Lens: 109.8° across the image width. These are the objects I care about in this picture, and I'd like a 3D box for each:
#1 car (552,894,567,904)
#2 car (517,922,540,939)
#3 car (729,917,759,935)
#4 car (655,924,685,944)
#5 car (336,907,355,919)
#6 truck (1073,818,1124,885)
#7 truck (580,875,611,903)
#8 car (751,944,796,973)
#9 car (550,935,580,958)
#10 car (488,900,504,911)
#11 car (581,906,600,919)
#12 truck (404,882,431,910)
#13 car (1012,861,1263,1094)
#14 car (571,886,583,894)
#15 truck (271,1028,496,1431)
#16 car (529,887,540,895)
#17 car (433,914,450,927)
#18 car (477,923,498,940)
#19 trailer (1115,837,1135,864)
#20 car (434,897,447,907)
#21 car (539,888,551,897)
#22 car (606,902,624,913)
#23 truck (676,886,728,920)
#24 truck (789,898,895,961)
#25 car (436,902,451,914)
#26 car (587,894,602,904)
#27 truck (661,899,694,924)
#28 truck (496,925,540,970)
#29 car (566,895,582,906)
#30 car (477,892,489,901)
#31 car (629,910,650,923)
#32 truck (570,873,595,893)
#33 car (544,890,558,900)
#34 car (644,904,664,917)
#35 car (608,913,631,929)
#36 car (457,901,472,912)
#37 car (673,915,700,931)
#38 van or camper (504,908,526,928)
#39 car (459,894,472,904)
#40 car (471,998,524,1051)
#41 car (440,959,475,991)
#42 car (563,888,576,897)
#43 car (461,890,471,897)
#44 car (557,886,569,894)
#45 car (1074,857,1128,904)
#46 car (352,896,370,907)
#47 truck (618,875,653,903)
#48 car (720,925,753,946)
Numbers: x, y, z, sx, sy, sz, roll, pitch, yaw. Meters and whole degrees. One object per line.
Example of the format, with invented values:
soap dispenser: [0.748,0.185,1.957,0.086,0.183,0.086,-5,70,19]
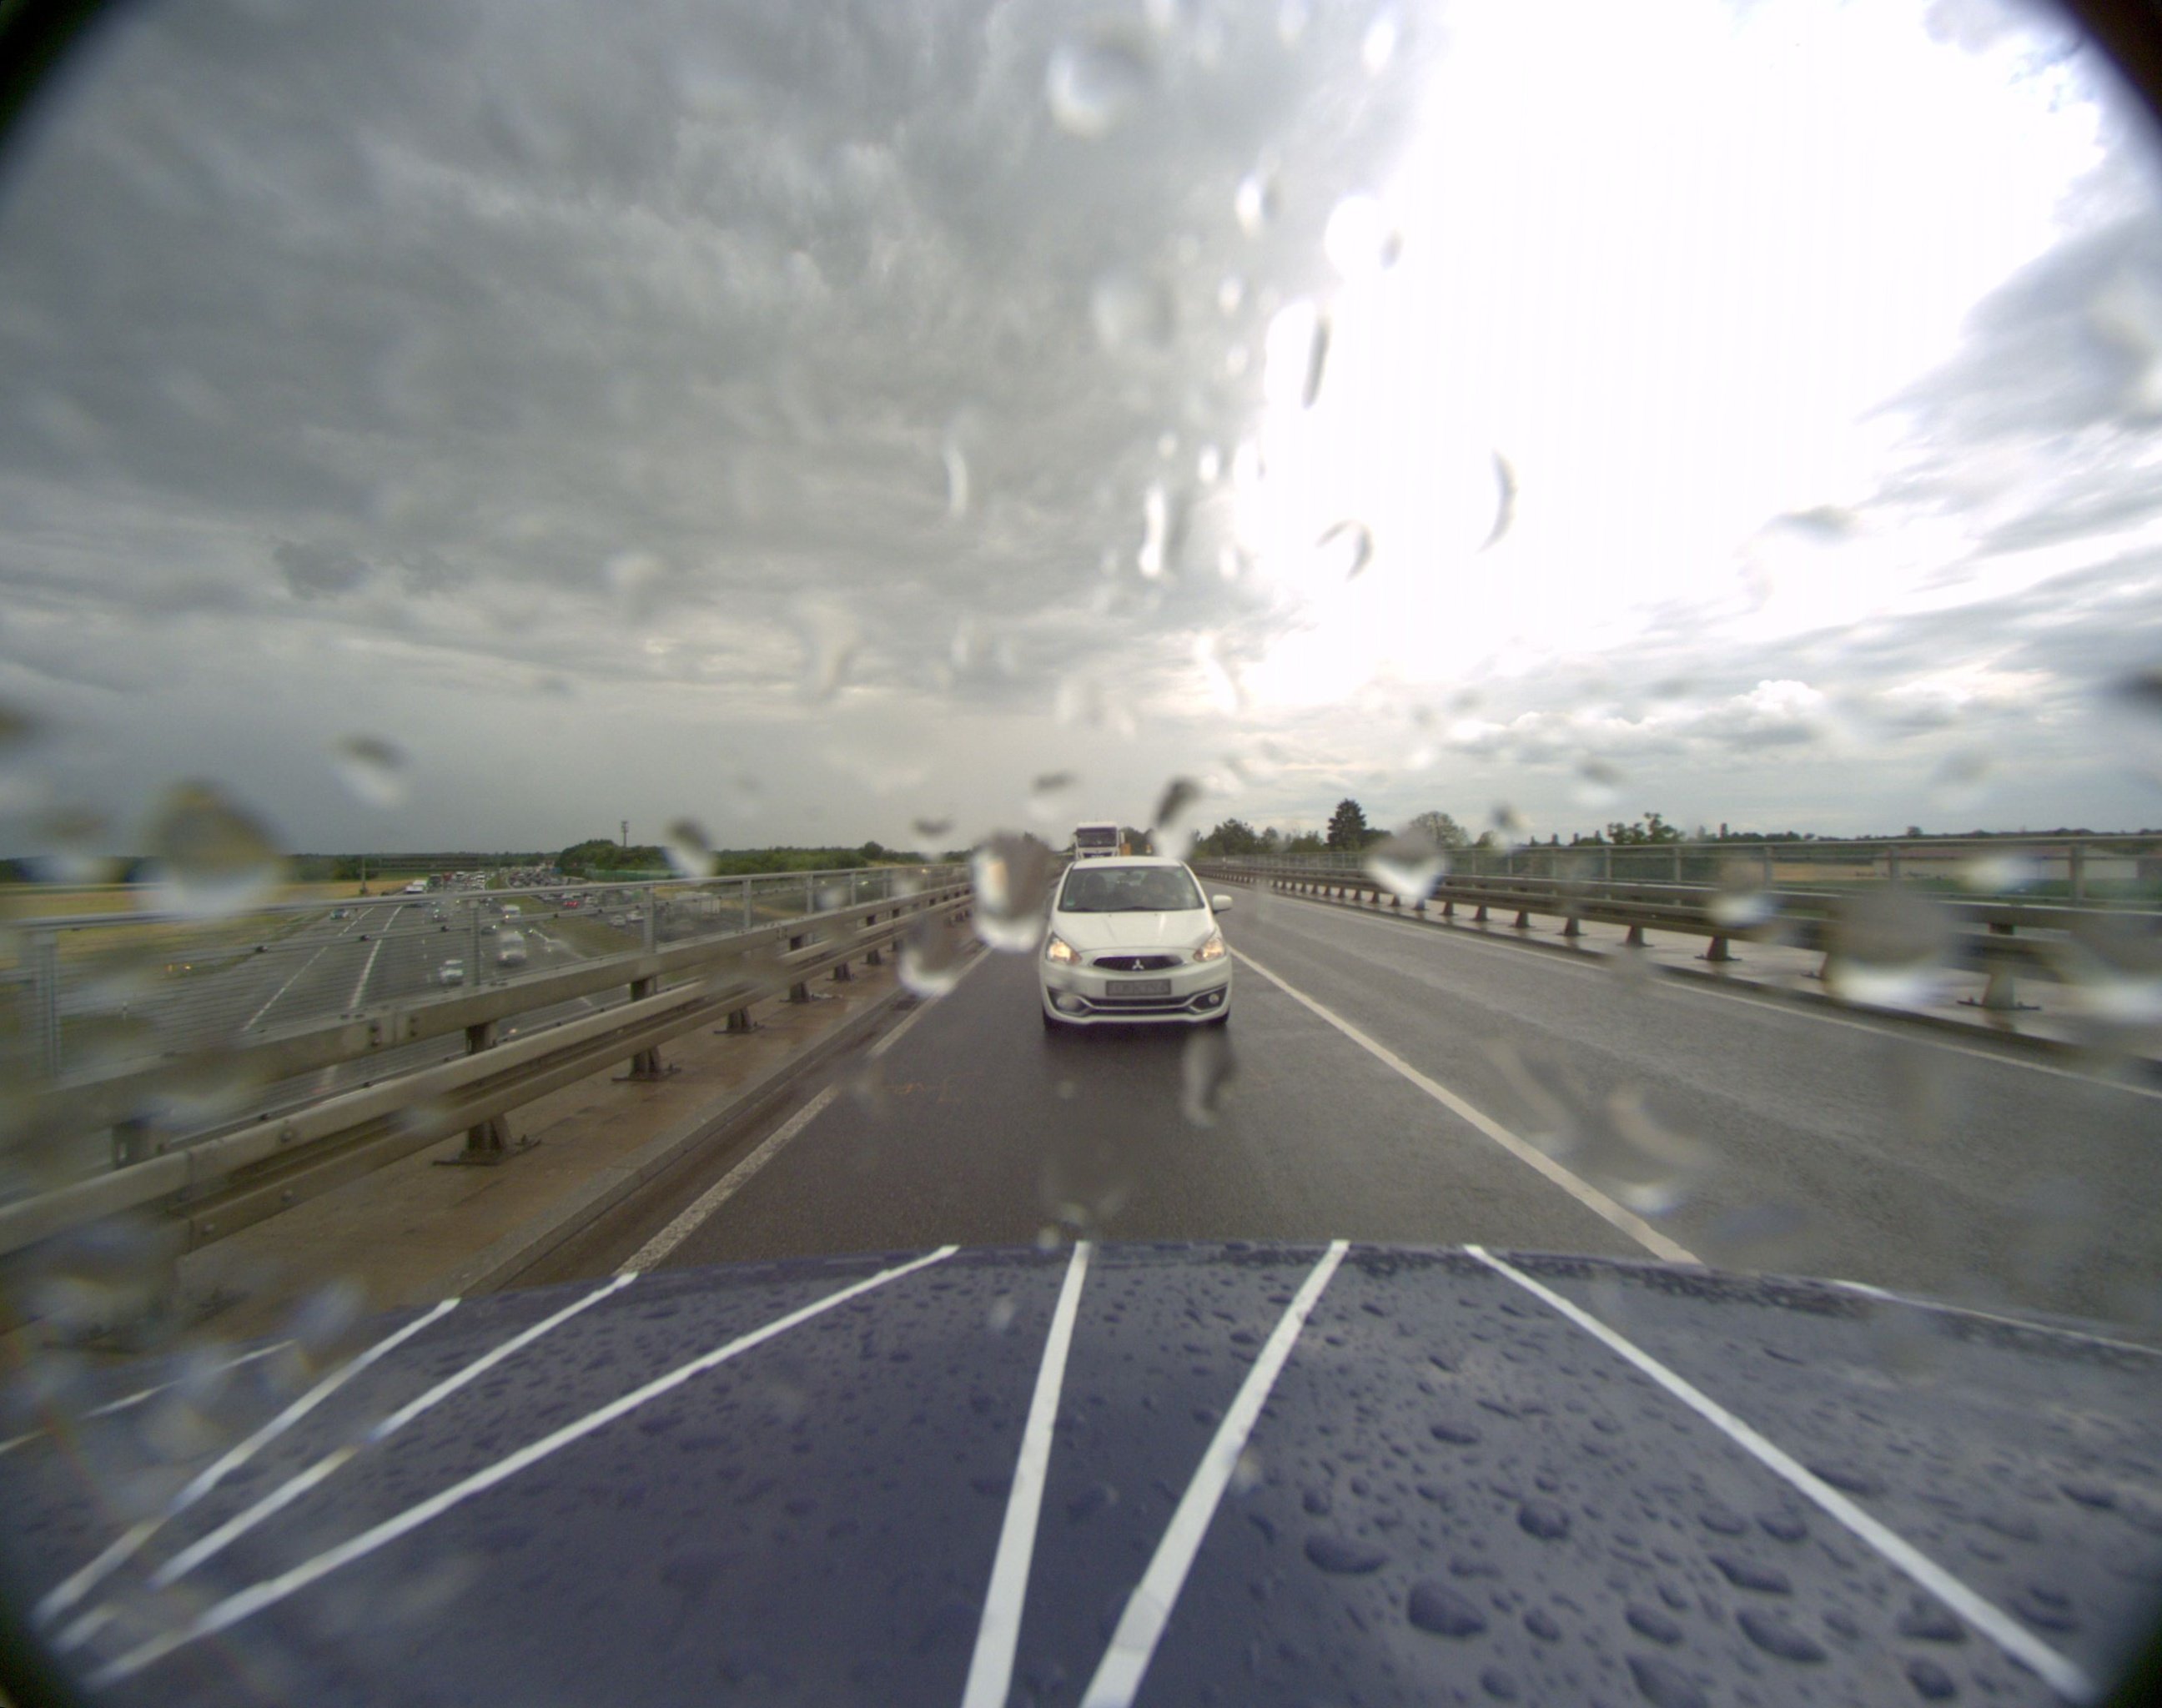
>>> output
car: [-103.891,8.913,151.296,1.860,1.659,4.712,-3,1,-40]
car: [-67.796,9.382,93.215,1.818,1.659,4.712,-3,1,-40]
car: [-39.781,8.505,89.645,1.860,1.659,4.712,-3,1,-40]
car: [-44.344,8.631,81.963,1.860,1.659,4.712,-3,1,-40]
car: [-113.790,9.088,117.517,1.818,1.428,4.711,-3,1,-41]
truck: [0.921,-0.314,45.567,2.631,3.537,8.474,-2,3,0]
truck: [-104.553,7.429,163.442,3.302,5.411,15.588,-3,1,-40]
car: [-24.059,8.092,59.302,1.860,1.659,4.712,-3,1,-40]
car: [-50.623,9.024,74.490,1.818,1.659,4.712,-3,1,-40]
car: [-100.946,8.866,131.132,1.860,1.659,4.712,-3,1,-40]
car: [-78.238,9.312,121.149,1.860,1.659,4.712,-3,1,-40]
truck: [-131.693,8.241,150.974,2.799,4.871,12.724,-3,1,-36]
car: [0.416,0.870,7.300,1.675,1.476,4.129,-2,1,1]
car: [-123.718,8.840,186.604,1.860,1.764,4.712,-3,1,-40]
truck: [-15.169,7.164,16.924,2.691,4.599,9.727,-3,1,-40]
car: [-135.795,9.212,188.904,1.860,1.764,4.712,-3,1,-40]
car: [-96.422,10.002,114.575,1.860,1.659,4.712,-3,1,-40]
car: [-74.421,9.661,95.258,1.818,1.659,4.712,-3,1,-40]
trailer: [6.970,-0.519,120.910,2.689,4.051,8.485,-2,0,1]
car: [-125.644,9.376,149.134,1.860,1.659,4.712,-3,1,-40]
car: [-124.113,8.877,175.822,1.860,1.764,4.712,-3,1,-40]
car: [-79.830,9.127,130.057,1.860,1.659,4.712,-3,1,-40]
truck: [-58.063,7.343,116.062,3.610,4.511,15.588,-3,1,-39]
truck: [-22.284,6.651,69.742,3.610,4.511,15.588,-3,1,-39]
car: [-107.291,9.112,127.835,1.860,1.659,4.712,-3,1,-40]
car: [-94.696,8.750,147.815,1.860,1.764,4.712,-3,1,-40]
truck: [-57.916,8.177,109.046,2.216,2.948,9.283,-3,1,-40]
truck: [-50.871,8.320,68.580,2.601,3.161,8.373,-3,1,-40]
car: [-92.458,8.447,138.483,1.860,1.659,4.712,-3,1,-40]
car: [-130.980,9.309,166.381,1.860,1.659,4.712,-3,1,-40]
car: [-65.072,9.180,111.987,1.860,1.659,4.712,-3,1,-40]
truck: [-137.148,7.867,209.015,3.499,5.321,15.588,-3,1,-40]
car: [-110.686,8.573,158.654,1.860,1.764,4.712,-3,1,-40]
car: [-67.808,8.968,120.671,1.860,1.659,4.712,-3,1,-40]
car: [-61.783,8.938,101.761,1.860,1.659,4.712,-3,1,-40]
car: [-109.722,9.242,135.210,1.860,1.659,4.712,-3,1,-40]
car: [-48.379,8.442,93.174,1.860,1.659,4.712,-3,1,-40]
van or camper: [-83.623,9.341,112.175,2.063,2.436,7.311,-3,1,-40]
car: [-125.754,9.192,155.150,1.860,1.659,4.712,-3,1,-40]
car: [-29.647,8.573,38.541,1.818,1.659,4.712,-3,1,-40]
car: [-46.260,8.932,56.338,1.818,1.659,4.712,-3,1,-40]
car: [-115.448,8.696,171.445,1.860,1.764,4.712,-3,1,-40]
car: [-153.938,9.847,190.204,1.860,1.659,4.712,-3,1,-40]
car: [-127.845,8.958,187.490,1.860,1.764,4.712,-3,1,-40]
car: [0.667,0.860,26.134,1.675,1.366,4.129,-2,1,1]
car: [-125.607,8.195,132.538,1.860,1.659,4.712,-3,1,-40]
truck: [-91.125,7.002,155.158,3.302,5.135,15.588,-3,1,-40]
car: [-35.506,8.331,78.222,1.860,1.659,4.712,-3,1,-40]
